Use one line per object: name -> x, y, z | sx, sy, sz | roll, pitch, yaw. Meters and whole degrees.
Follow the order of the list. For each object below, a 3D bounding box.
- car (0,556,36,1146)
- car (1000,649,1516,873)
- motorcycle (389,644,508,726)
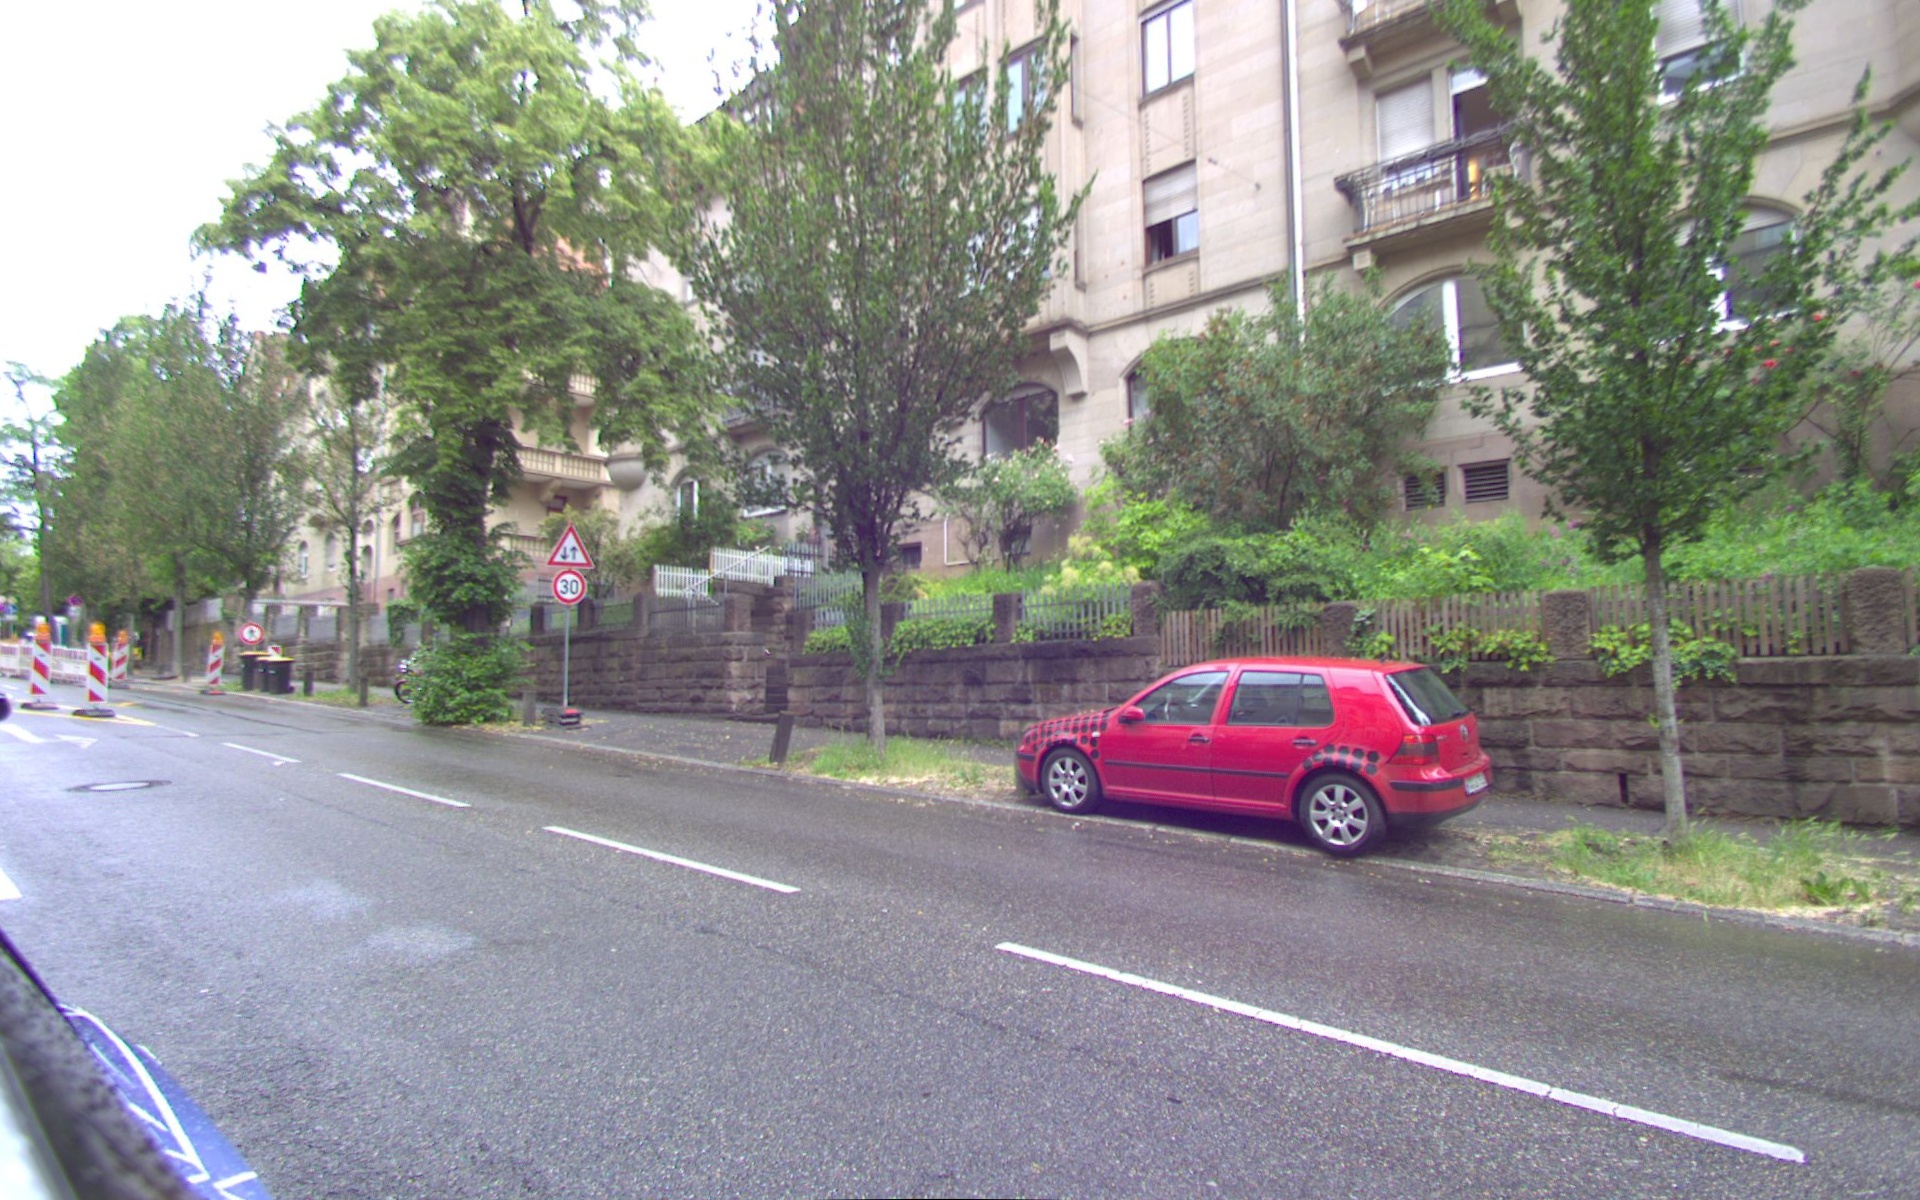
car -> -4.988, 0.749, 3.782 | 4.520, 1.685, 1.799 | -2, -3, 42
car -> 2.419, 1.195, 8.878 | 4.062, 1.462, 1.596 | -2, -3, 42
motorcycle -> -9.722, 1.555, 19.152 | 3.058, 1.425, 0.792 | -2, -2, 38
